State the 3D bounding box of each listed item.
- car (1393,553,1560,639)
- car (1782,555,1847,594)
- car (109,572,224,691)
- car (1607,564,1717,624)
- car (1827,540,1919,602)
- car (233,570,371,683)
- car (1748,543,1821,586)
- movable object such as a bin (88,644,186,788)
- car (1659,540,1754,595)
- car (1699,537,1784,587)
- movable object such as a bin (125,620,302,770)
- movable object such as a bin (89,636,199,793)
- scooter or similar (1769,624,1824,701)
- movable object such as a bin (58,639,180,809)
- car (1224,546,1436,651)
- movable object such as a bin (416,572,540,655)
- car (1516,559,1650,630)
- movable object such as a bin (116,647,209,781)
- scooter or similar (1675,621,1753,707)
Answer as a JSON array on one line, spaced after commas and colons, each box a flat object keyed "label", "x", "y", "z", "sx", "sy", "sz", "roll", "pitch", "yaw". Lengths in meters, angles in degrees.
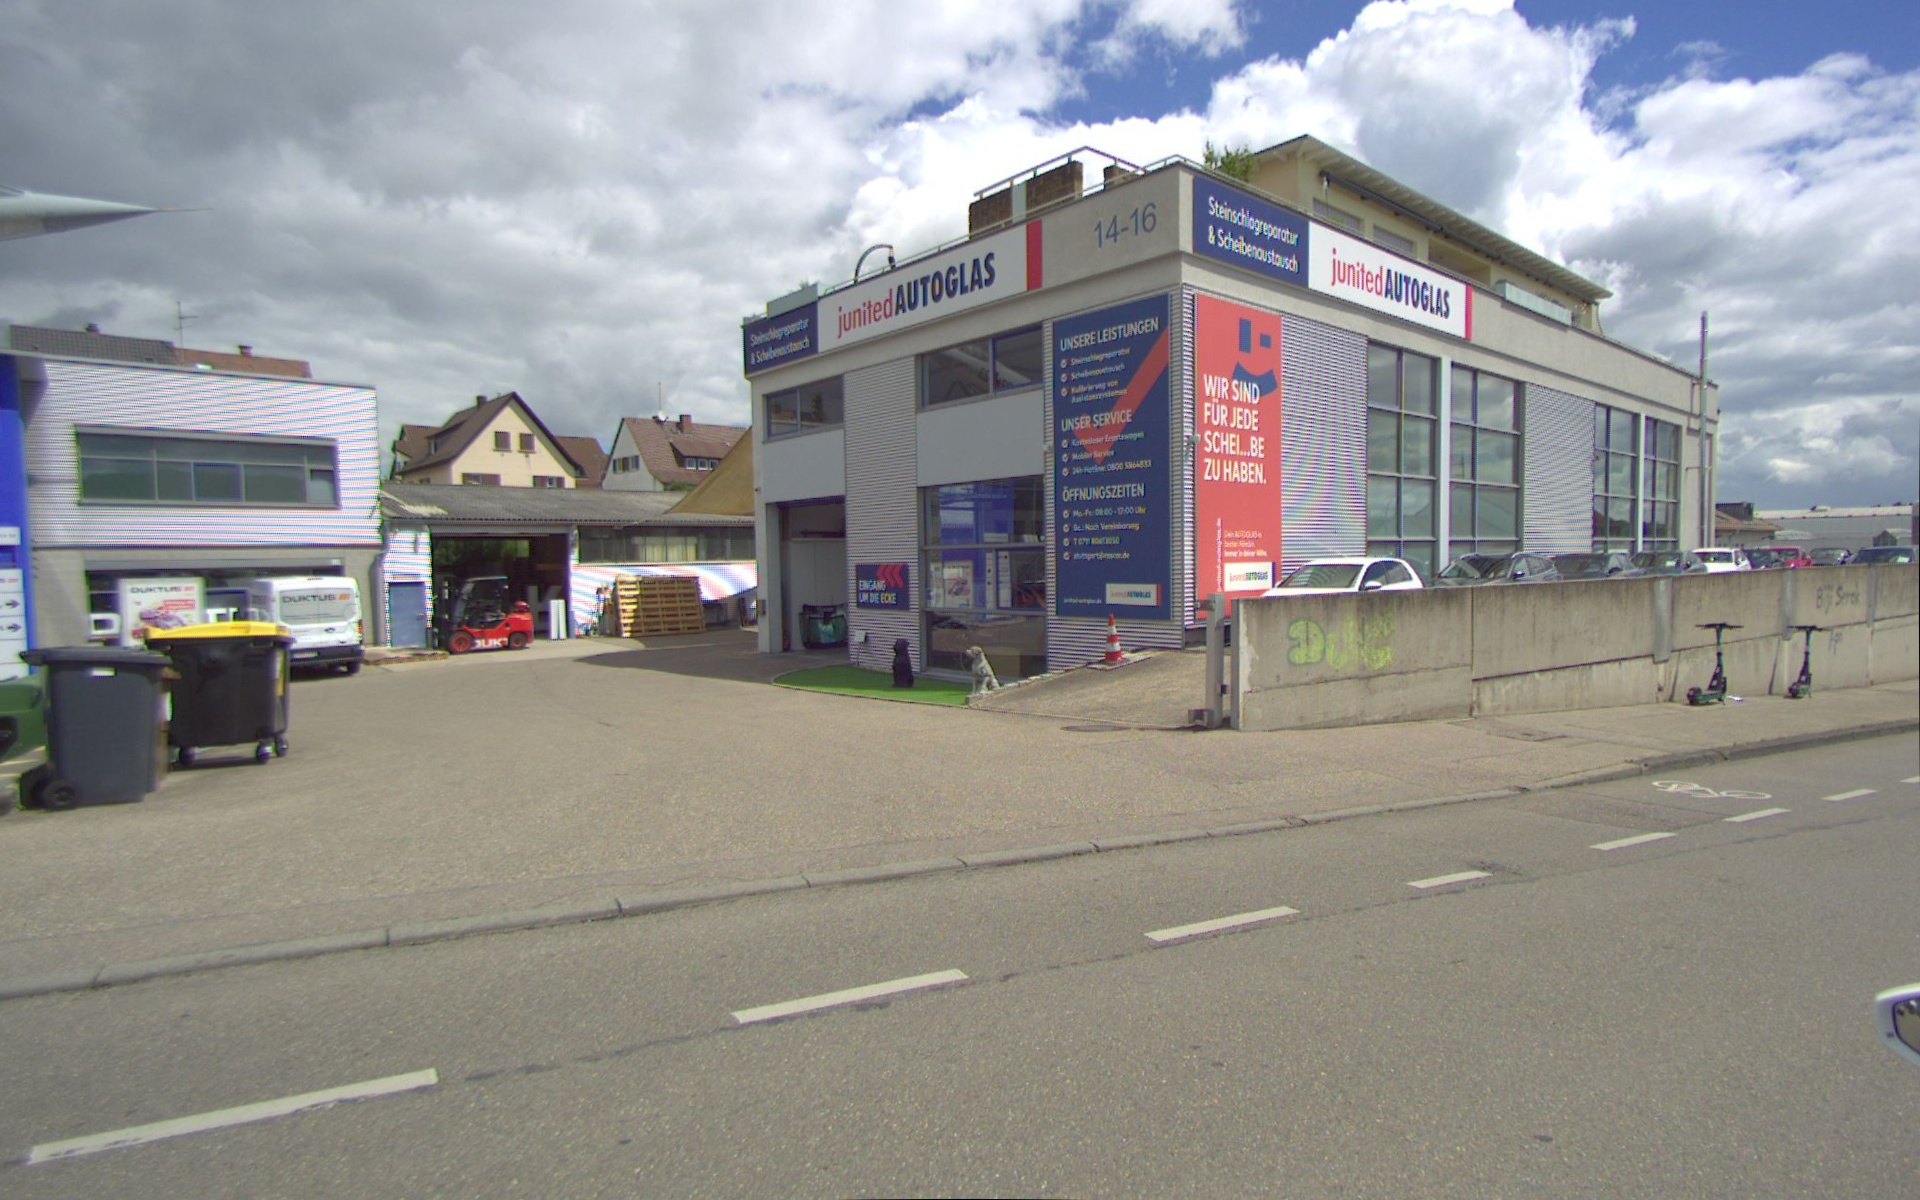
[{"label": "car", "x": 11.053, "y": -0.059, "z": 21.381, "sx": 4.081, "sy": 1.658, "sz": 1.790, "roll": 2, "pitch": 0, "yaw": -42}, {"label": "car", "x": 40.992, "y": -1.192, "z": 48.177, "sx": 4.081, "sy": 1.658, "sz": 1.790, "roll": 2, "pitch": 0, "yaw": -42}, {"label": "car", "x": -20.057, "y": 0.662, "z": 25.380, "sx": 1.975, "sy": 2.636, "sz": 4.677, "roll": -4, "pitch": 4, "yaw": -39}, {"label": "car", "x": 21.070, "y": -0.148, "z": 30.086, "sx": 4.081, "sy": 1.658, "sz": 1.790, "roll": 2, "pitch": 0, "yaw": -42}, {"label": "car", "x": 27.854, "y": -0.832, "z": 30.409, "sx": 4.071, "sy": 1.658, "sz": 1.791, "roll": 2, "pitch": 0, "yaw": -40}, {"label": "car", "x": -17.279, "y": 0.567, "z": 26.297, "sx": 4.558, "sy": 2.636, "sz": 1.980, "roll": 2, "pitch": 4, "yaw": 44}, {"label": "car", "x": 35.564, "y": -1.486, "z": 43.282, "sx": 4.081, "sy": 1.658, "sz": 1.790, "roll": 2, "pitch": 0, "yaw": -42}, {"label": "movable object such as a bin", "x": -6.420, "y": 0.882, "z": 7.853, "sx": 0.492, "sy": 1.074, "sz": 0.499, "roll": 1, "pitch": -3, "yaw": -30}, {"label": "car", "x": 25.511, "y": -1.068, "z": 34.283, "sx": 4.081, "sy": 1.658, "sz": 1.790, "roll": 2, "pitch": 0, "yaw": -42}, {"label": "car", "x": 29.237, "y": -1.366, "z": 37.545, "sx": 4.081, "sy": 1.658, "sz": 1.790, "roll": 2, "pitch": 0, "yaw": -42}, {"label": "movable object such as a bin", "x": -7.142, "y": 0.881, "z": 9.713, "sx": 1.218, "sy": 1.323, "sz": 1.215, "roll": 1, "pitch": -3, "yaw": -31}, {"label": "movable object such as a bin", "x": -6.026, "y": 0.821, "z": 7.451, "sx": 0.511, "sy": 1.094, "sz": 0.659, "roll": 1, "pitch": -3, "yaw": -30}, {"label": "scooter or similar", "x": 15.039, "y": 1.096, "z": 18.052, "sx": 1.373, "sy": 1.293, "sz": 0.514, "roll": 1, "pitch": 2, "yaw": -43}, {"label": "movable object such as a bin", "x": -5.758, "y": 0.819, "z": 6.906, "sx": 0.511, "sy": 1.094, "sz": 0.659, "roll": 1, "pitch": -3, "yaw": -30}, {"label": "car", "x": 6.624, "y": 0.000, "z": 17.794, "sx": 4.081, "sy": 1.658, "sz": 1.790, "roll": 2, "pitch": 0, "yaw": -42}, {"label": "movable object such as a bin", "x": -14.797, "y": 0.361, "z": 30.885, "sx": 3.121, "sy": 2.382, "sz": 1.417, "roll": -3, "pitch": 3, "yaw": -42}, {"label": "car", "x": 15.916, "y": -0.109, "z": 25.603, "sx": 4.081, "sy": 1.658, "sz": 1.790, "roll": 2, "pitch": 0, "yaw": -42}, {"label": "movable object such as a bin", "x": -6.602, "y": 0.925, "z": 8.333, "sx": 0.511, "sy": 1.058, "sz": 0.512, "roll": 1, "pitch": -3, "yaw": -30}, {"label": "scooter or similar", "x": 11.954, "y": 1.002, "z": 15.917, "sx": 1.291, "sy": 1.293, "sz": 0.554, "roll": 1, "pitch": 0, "yaw": -33}]
